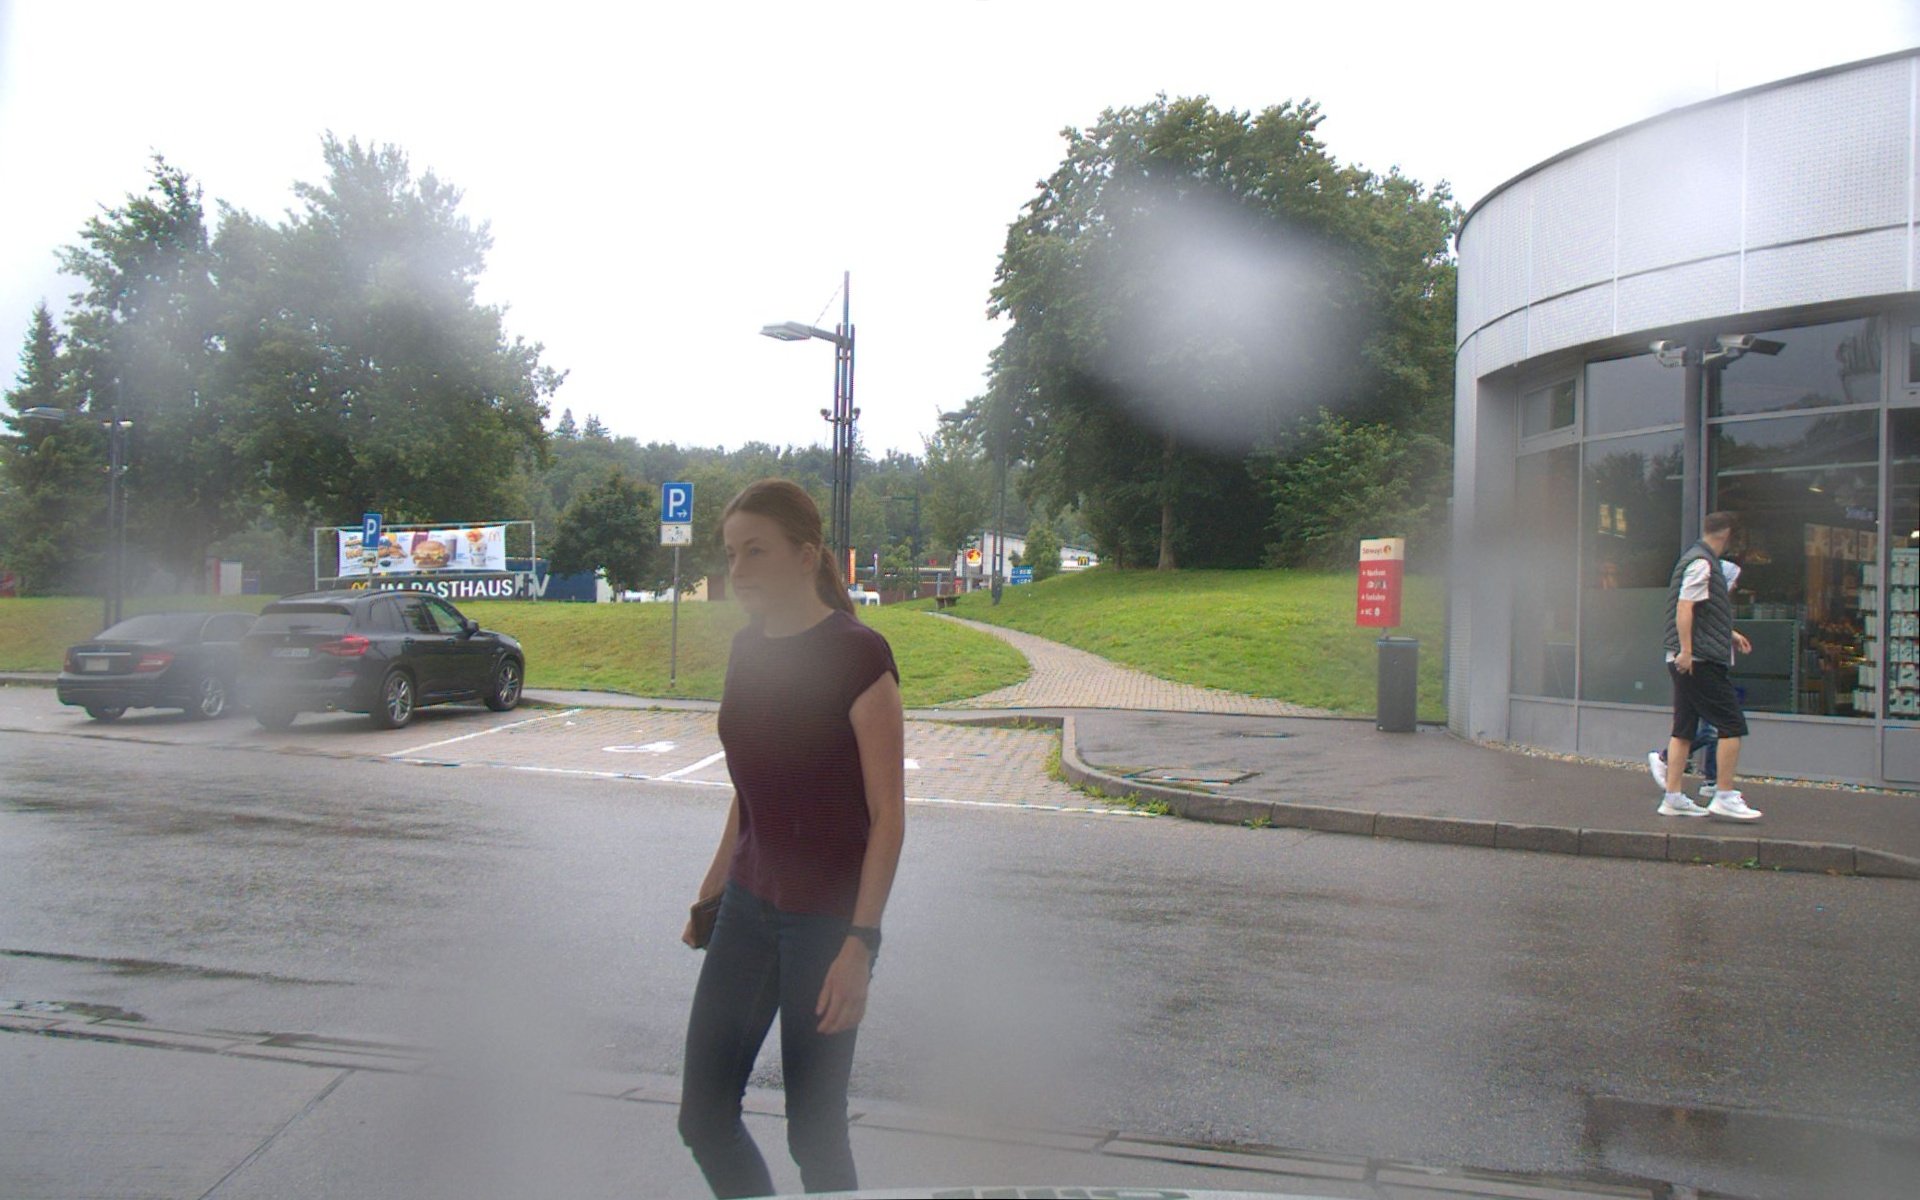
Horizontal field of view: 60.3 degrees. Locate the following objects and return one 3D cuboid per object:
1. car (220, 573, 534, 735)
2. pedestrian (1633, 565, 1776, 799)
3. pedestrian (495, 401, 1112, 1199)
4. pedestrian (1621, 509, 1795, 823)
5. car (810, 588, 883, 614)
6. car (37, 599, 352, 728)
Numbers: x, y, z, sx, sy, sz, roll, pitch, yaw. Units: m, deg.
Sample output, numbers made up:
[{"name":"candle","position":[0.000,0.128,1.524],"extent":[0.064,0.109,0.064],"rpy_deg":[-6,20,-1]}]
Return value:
[{"name":"car","position":[-7.331,0.614,21.335],"extent":[1.844,1.860,4.417],"rpy_deg":[0,0,11]},{"name":"pedestrian","position":[5.266,0.552,11.687],"extent":[0.872,1.577,0.659],"rpy_deg":[0,0,29]},{"name":"pedestrian","position":[-0.254,0.589,3.004],"extent":[0.779,1.765,0.838],"rpy_deg":[0,0,31]},{"name":"pedestrian","position":[4.745,0.394,10.478],"extent":[0.954,1.880,0.772],"rpy_deg":[0,0,28]},{"name":"car","position":[-9.175,0.071,133.615],"extent":[5.310,2.049,2.456],"rpy_deg":[1,0,19]},{"name":"car","position":[-10.357,0.787,22.774],"extent":[1.844,1.592,4.189],"rpy_deg":[0,0,11]}]
